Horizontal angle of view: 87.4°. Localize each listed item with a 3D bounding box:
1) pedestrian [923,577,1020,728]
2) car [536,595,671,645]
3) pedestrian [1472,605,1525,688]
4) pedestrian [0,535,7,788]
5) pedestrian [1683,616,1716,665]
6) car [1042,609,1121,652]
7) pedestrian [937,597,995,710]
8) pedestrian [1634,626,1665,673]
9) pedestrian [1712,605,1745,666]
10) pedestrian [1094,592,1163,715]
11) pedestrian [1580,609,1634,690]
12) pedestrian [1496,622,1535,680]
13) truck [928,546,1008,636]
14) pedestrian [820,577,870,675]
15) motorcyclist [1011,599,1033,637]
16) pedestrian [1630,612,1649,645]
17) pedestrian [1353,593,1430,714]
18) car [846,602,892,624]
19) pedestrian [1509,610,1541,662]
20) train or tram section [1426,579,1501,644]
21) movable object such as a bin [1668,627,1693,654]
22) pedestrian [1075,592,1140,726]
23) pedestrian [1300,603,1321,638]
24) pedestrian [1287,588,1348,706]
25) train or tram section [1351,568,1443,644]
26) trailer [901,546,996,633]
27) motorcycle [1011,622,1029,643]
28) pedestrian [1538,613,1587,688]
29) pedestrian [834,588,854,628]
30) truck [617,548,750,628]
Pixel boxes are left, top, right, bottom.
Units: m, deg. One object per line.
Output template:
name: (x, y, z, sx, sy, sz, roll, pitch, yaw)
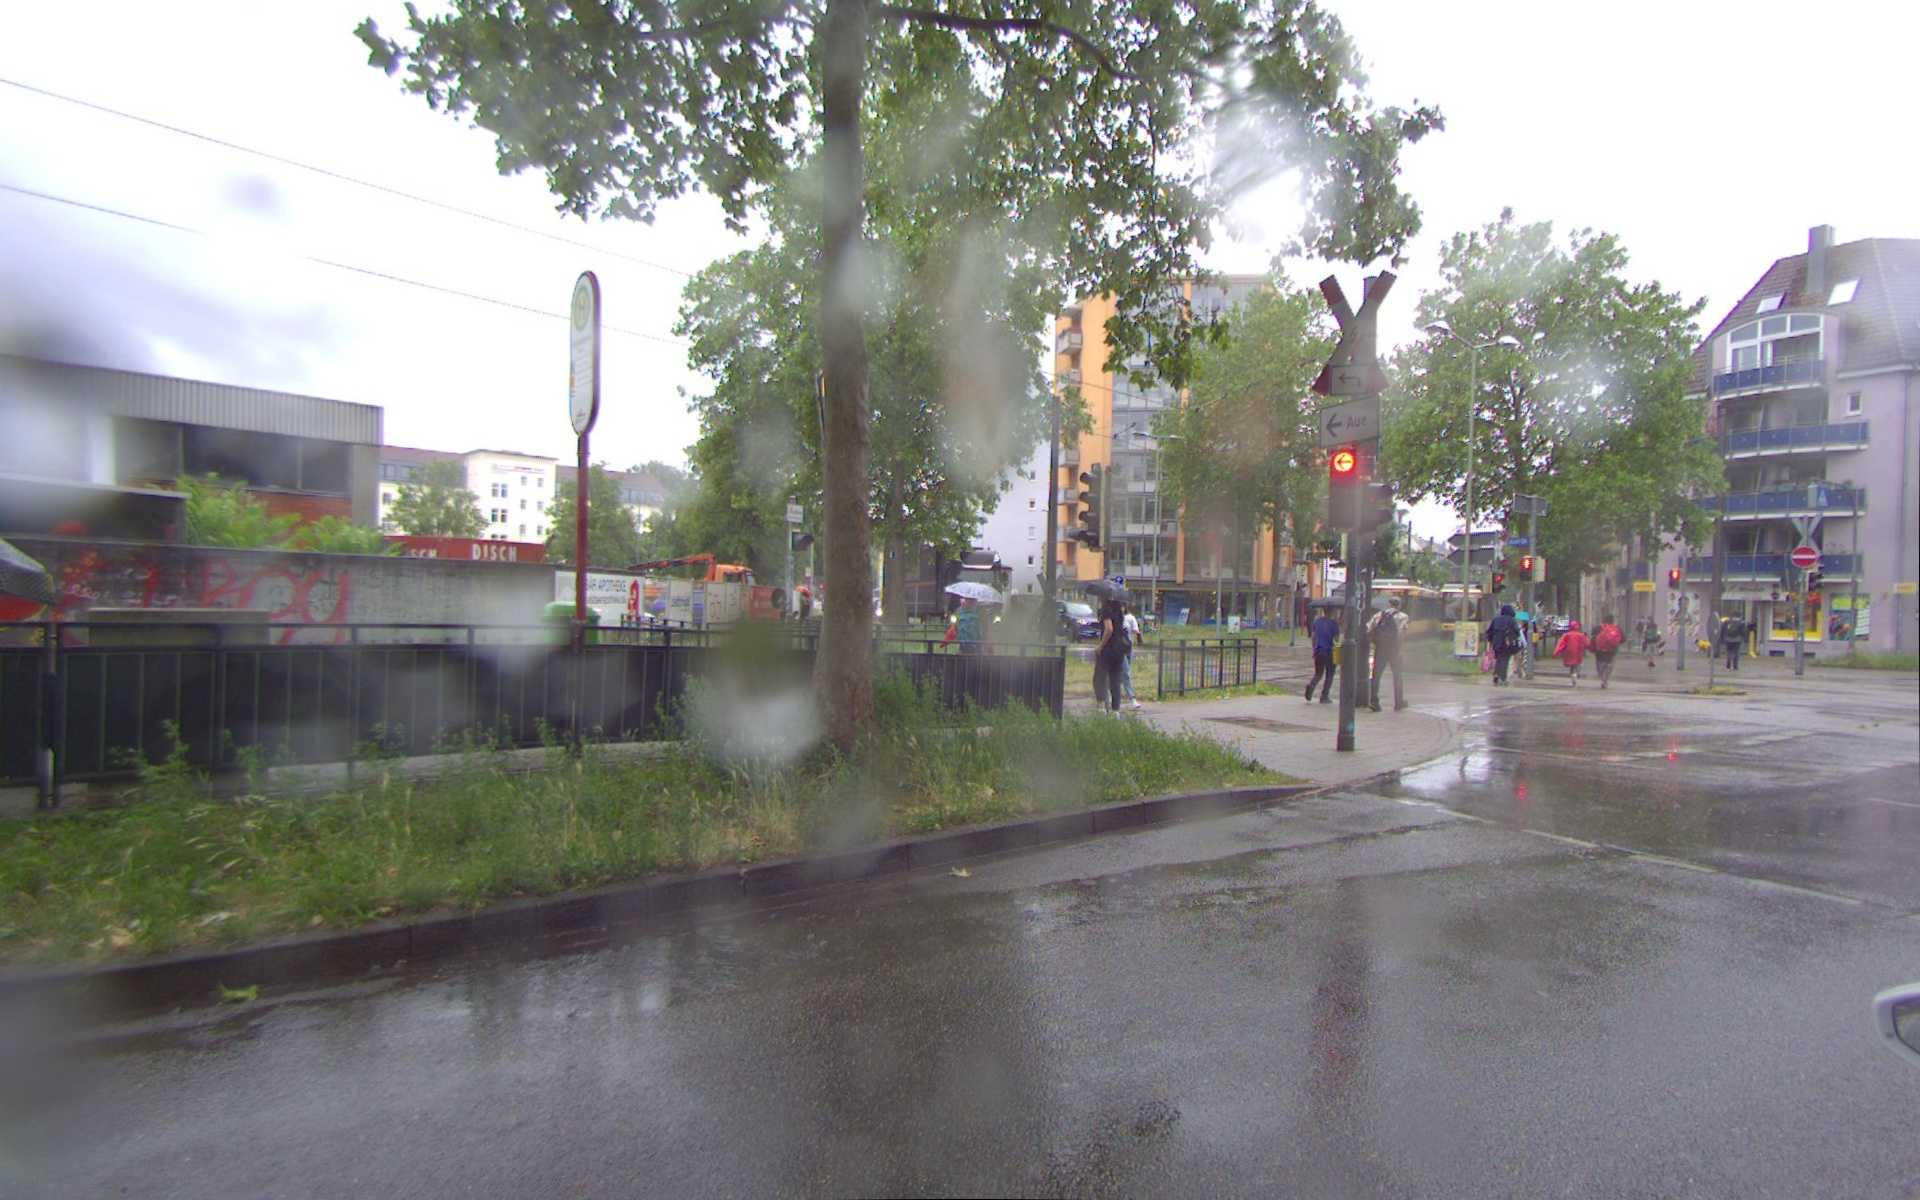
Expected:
pedestrian: (0.165, 0.655, 12.975, 0.966, 1.851, 1.077, -2, 0, 15)
car: (-10.420, 0.573, 29.404, 3.447, 1.323, 1.405, 2, 0, 10)
pedestrian: (11.543, 0.986, 21.552, 0.823, 1.721, 0.689, -2, 0, 17)
pedestrian: (-5.857, 0.341, 5.781, 0.603, 1.446, 0.492, 2, 0, 44)
pedestrian: (34.001, 1.846, 46.193, 0.876, 2.179, 0.904, 2, 0, -29)
car: (4.841, 1.190, 40.491, 1.585, 1.551, 4.017, 1, 1, -19)
pedestrian: (0.093, 0.767, 14.671, 0.782, 1.593, 0.659, -2, 0, 2)
pedestrian: (21.281, 1.516, 31.015, 0.638, 1.414, 0.782, 1, 0, 26)
pedestrian: (24.087, 1.105, 31.500, 0.777, 1.880, 0.679, 2, 1, 37)
pedestrian: (2.506, 0.765, 14.909, 0.675, 1.752, 0.752, 2, 1, 42)
pedestrian: (13.632, 1.018, 21.174, 0.809, 1.646, 0.724, 0, 0, -37)
pedestrian: (13.695, 1.240, 24.758, 0.704, 1.367, 0.650, 1, 1, -44)
truck: (0.281, -0.392, 46.058, 2.593, 3.842, 4.444, 2, 0, -13)
pedestrian: (-2.304, 0.516, 20.077, 0.768, 1.891, 0.936, 2, 0, -18)
motorcyclist: (2.688, 0.799, 43.942, 0.765, 1.635, 0.774, 2, 0, -10)
pedestrian: (34.173, 1.420, 50.494, 0.663, 1.622, 0.966, 2, 0, 29)
pedestrian: (6.650, 0.794, 15.479, 0.855, 1.778, 0.826, 2, 1, 41)
car: (-8.243, 1.167, 90.937, 3.930, 1.808, 1.996, 2, 0, -12)
pedestrian: (20.060, 1.274, 35.640, 0.943, 1.789, 0.951, 2, 0, 31)
train or tram section: (31.777, 0.720, 62.995, 2.819, 3.593, 15.338, 2, 0, 32)
movable object such as a bin: (33.767, 1.893, 47.086, 0.659, 1.253, 0.746, 2, 0, -31)
pedestrian: (1.940, 0.766, 13.247, 0.782, 1.705, 0.660, -2, 0, 8)
pedestrian: (18.075, 1.050, 51.825, 0.941, 1.789, 0.952, 2, 0, 20)
pedestrian: (5.959, 0.765, 16.787, 0.854, 1.889, 0.892, 1, 0, 16)
train or tram section: (25.857, 0.445, 58.783, 2.839, 3.818, 17.211, 2, 0, 30)
trailer: (-0.811, -0.467, 50.749, 2.593, 3.899, 10.114, 2, 0, -13)
motorcycle: (2.616, 1.412, 43.950, 0.434, 0.853, 1.545, 2, 0, -8)
pedestrian: (12.828, 1.062, 21.381, 0.653, 1.540, 0.677, 1, 0, -36)
pedestrian: (-5.610, 0.400, 48.758, 0.765, 1.891, 0.940, 2, 0, 4)
truck: (-11.947, -0.480, 43.609, 5.383, 3.205, 2.164, 2, 0, -16)
